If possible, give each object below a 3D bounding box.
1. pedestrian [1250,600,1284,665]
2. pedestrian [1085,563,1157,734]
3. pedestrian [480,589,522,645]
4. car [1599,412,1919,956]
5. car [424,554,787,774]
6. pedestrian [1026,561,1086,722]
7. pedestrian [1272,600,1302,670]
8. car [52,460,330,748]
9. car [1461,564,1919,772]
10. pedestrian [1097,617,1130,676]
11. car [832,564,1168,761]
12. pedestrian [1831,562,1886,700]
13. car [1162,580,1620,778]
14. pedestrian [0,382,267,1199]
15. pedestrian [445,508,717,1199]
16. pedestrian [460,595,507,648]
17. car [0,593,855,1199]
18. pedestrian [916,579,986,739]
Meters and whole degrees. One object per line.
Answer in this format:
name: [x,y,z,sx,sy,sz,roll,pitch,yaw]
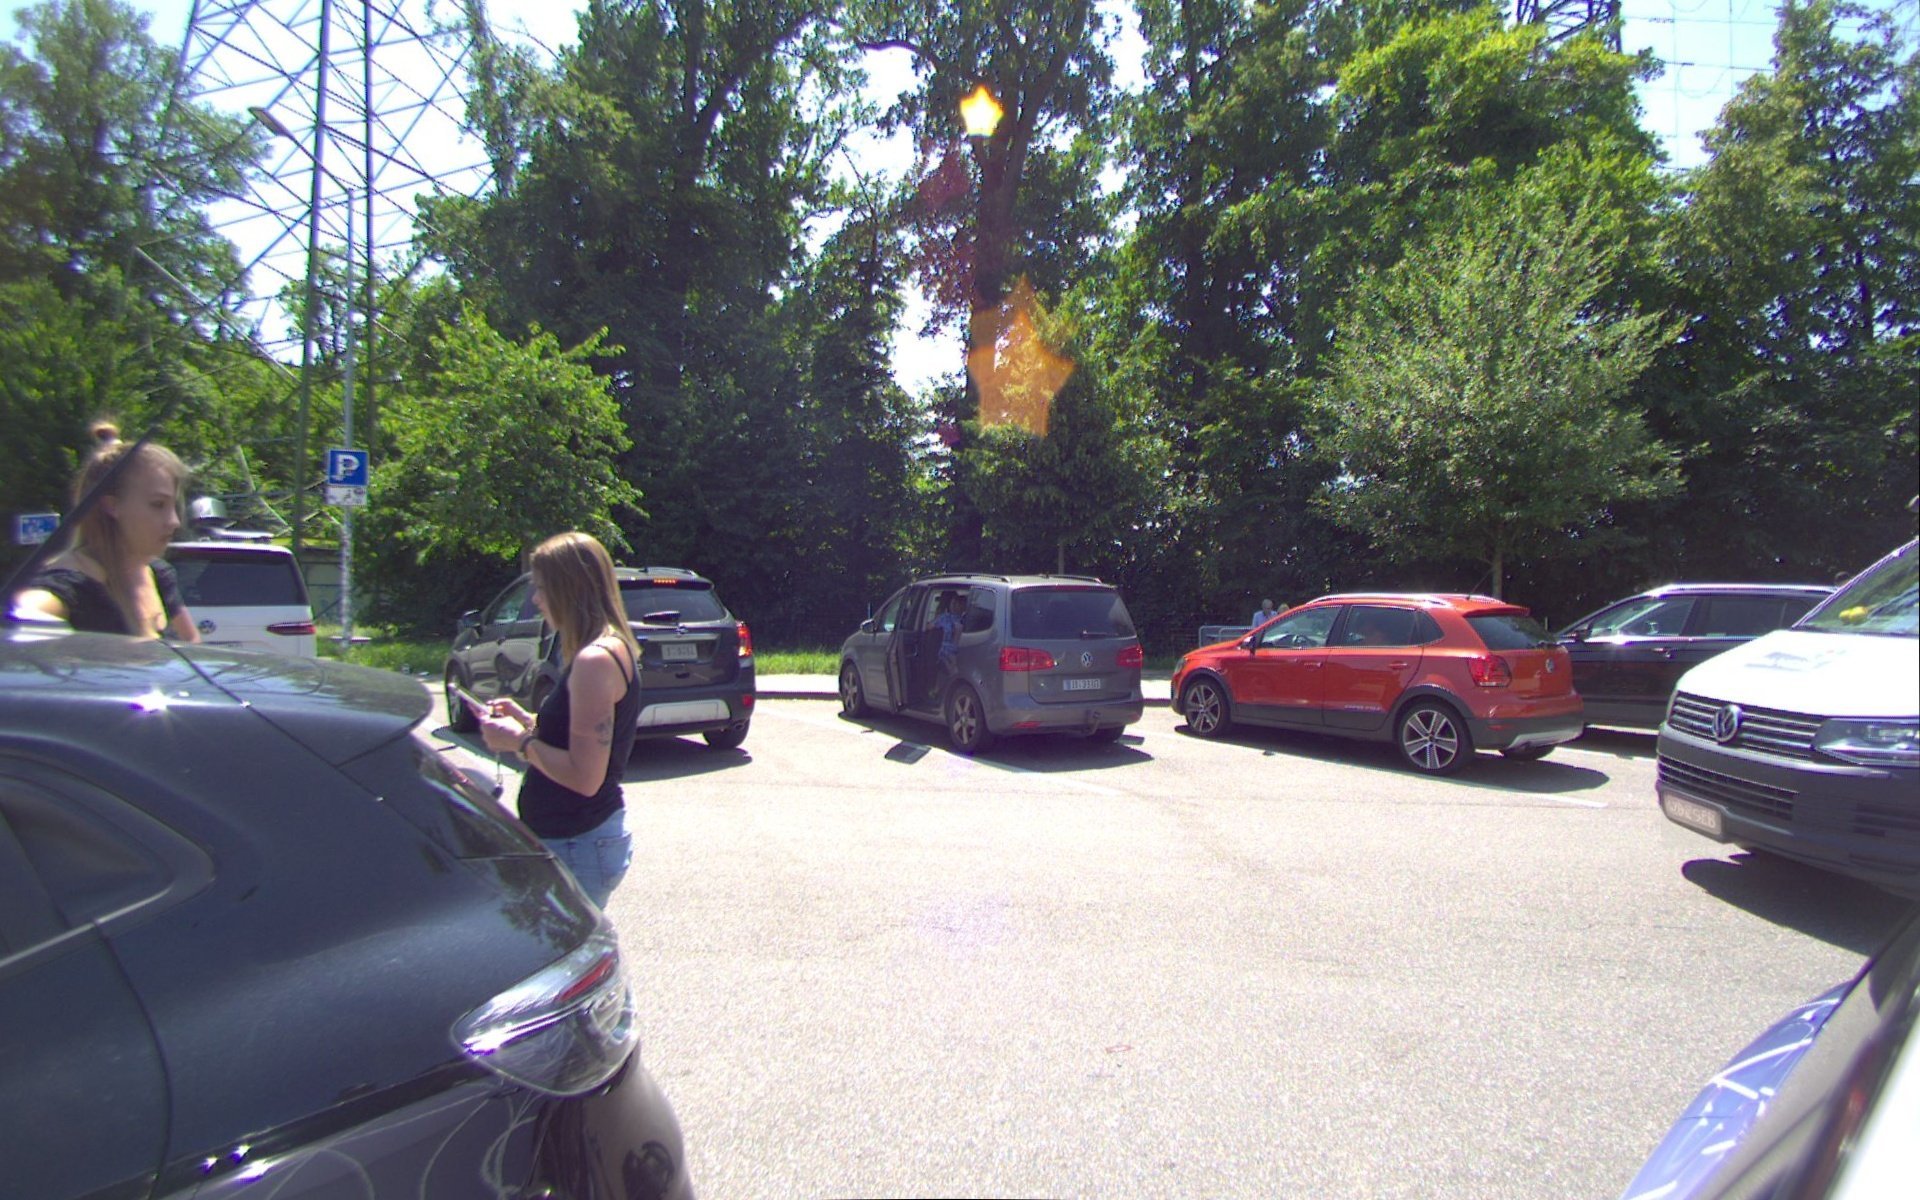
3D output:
pedestrian: [5.775,0.601,19.033,0.433,1.207,0.414,0,0,-30]
pedestrian: [1.697,0.494,10.683,0.576,1.744,0.483,0,0,-20]
pedestrian: [-11.149,0.400,24.584,0.539,1.318,0.758,0,0,37]
car: [6.292,0.347,4.693,5.336,2.131,1.842,1,1,4]
car: [-3.559,0.472,9.694,1.807,1.637,4.159,1,0,-42]
pedestrian: [1.066,0.448,11.286,0.500,1.744,0.438,0,0,-24]
pedestrian: [5.797,0.610,17.940,0.348,1.207,0.367,0,0,-20]
car: [-8.456,0.028,10.917,1.897,2.400,4.963,1,-1,-43]
car: [7.180,0.535,9.767,1.679,1.637,3.863,1,0,-40]
pedestrian: [2.406,0.726,15.851,0.494,0.890,0.512,0,0,10]
car: [0.208,0.507,10.545,1.670,1.637,3.912,0,0,-30]
pedestrian: [13.172,0.443,14.851,0.570,1.979,0.425,0,-1,38]
car: [3.858,0.595,9.629,1.588,1.485,3.751,1,0,-34]
pedestrian: [-1.957,0.526,2.382,0.478,1.883,0.913,1,-1,-33]
pedestrian: [-0.971,0.603,2.588,0.477,1.614,0.502,1,-1,-44]
pedestrian: [-10.788,0.468,22.929,0.785,1.178,0.696,0,0,39]
car: [-2.038,0.744,0.796,1.776,1.476,3.627,0,0,44]
pedestrian: [-0.095,0.552,9.941,0.510,1.516,0.561,0,0,-21]
